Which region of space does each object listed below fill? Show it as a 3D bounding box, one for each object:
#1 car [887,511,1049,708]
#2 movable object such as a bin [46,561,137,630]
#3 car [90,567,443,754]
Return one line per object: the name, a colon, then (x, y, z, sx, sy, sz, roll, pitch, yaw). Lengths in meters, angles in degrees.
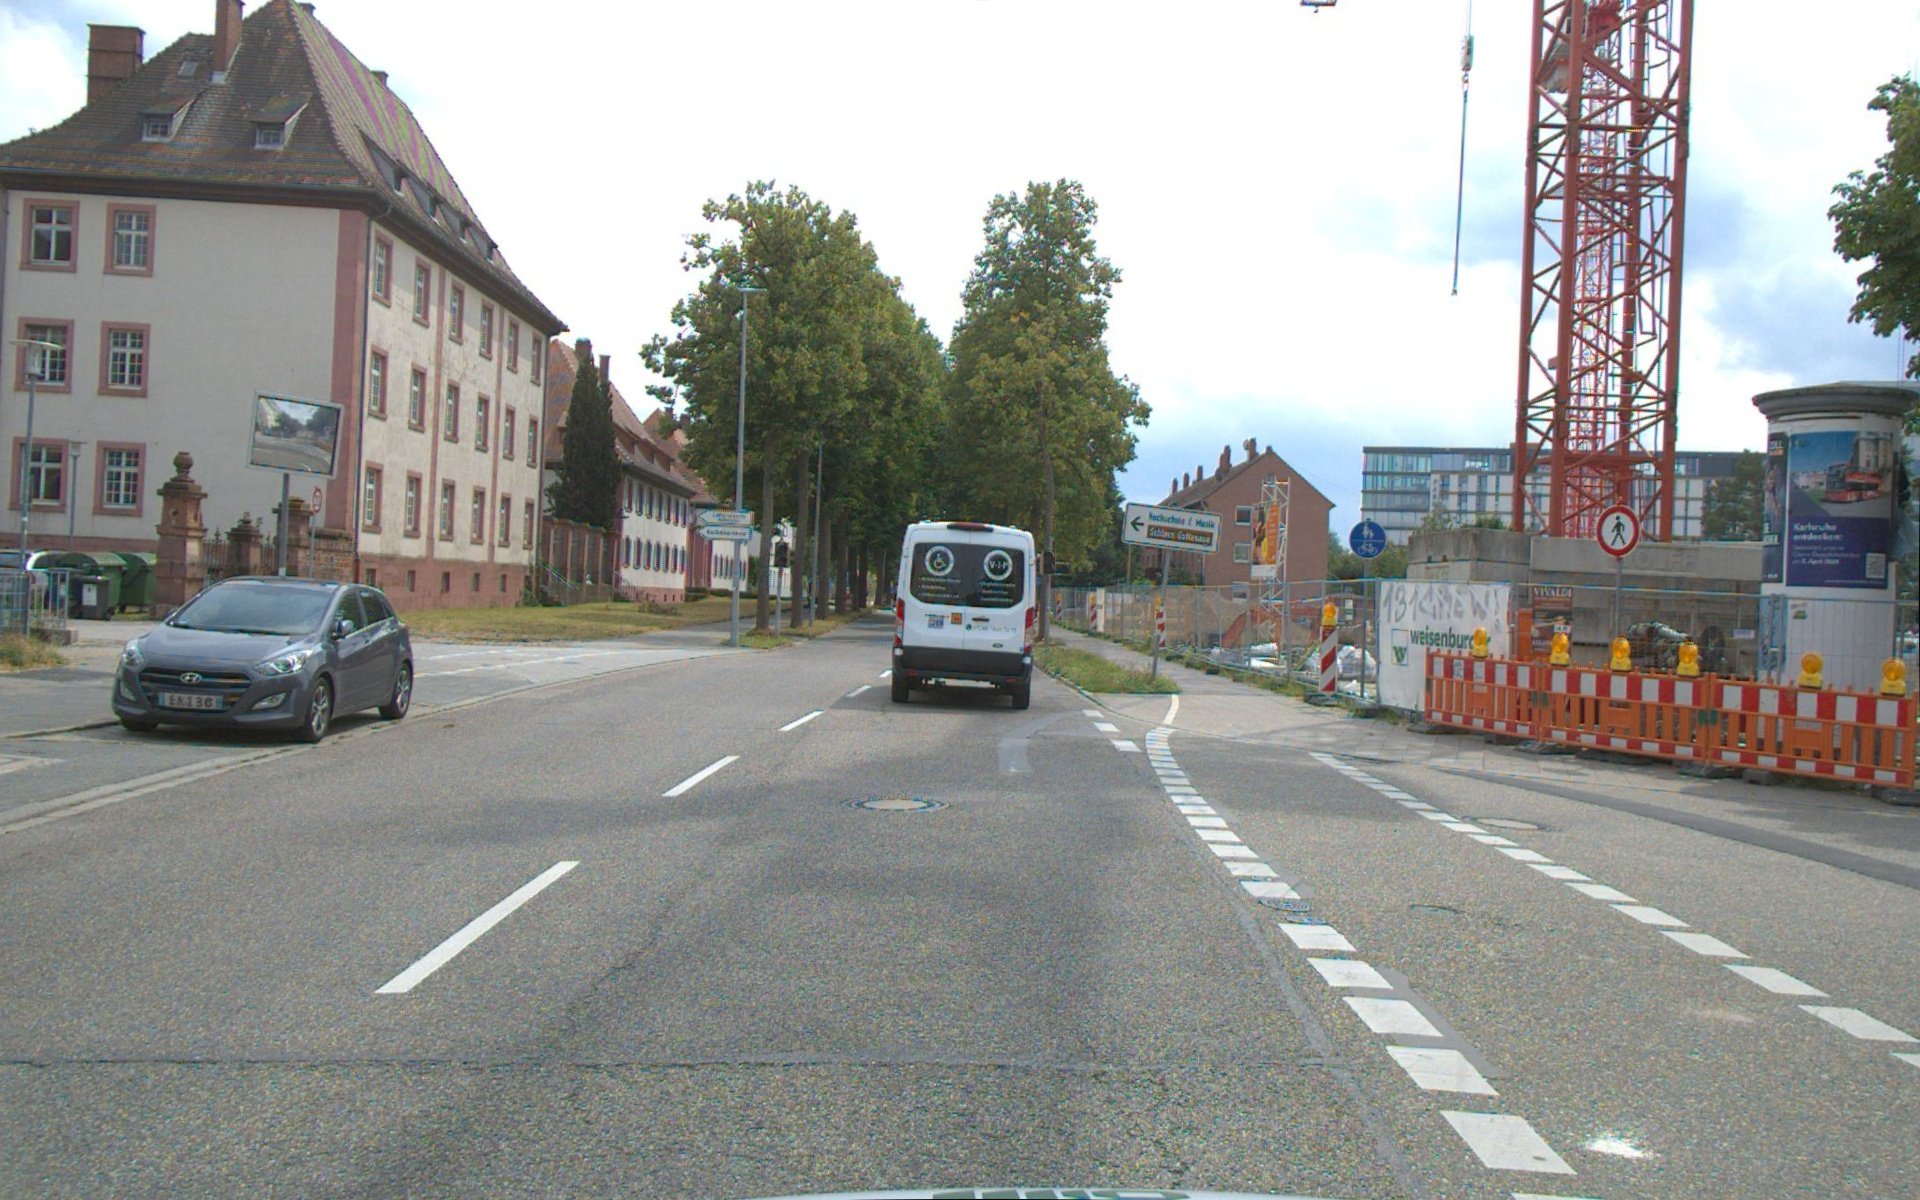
car: (0.021, 0.151, 24.316, 2.022, 2.584, 3.997, 2, -1, -4)
movable object such as a bin: (-19.749, -0.097, 37.665, 1.177, 1.493, 1.571, 2, -1, 0)
car: (-6.714, 0.524, 16.565, 1.786, 1.498, 4.295, 4, 0, -3)
